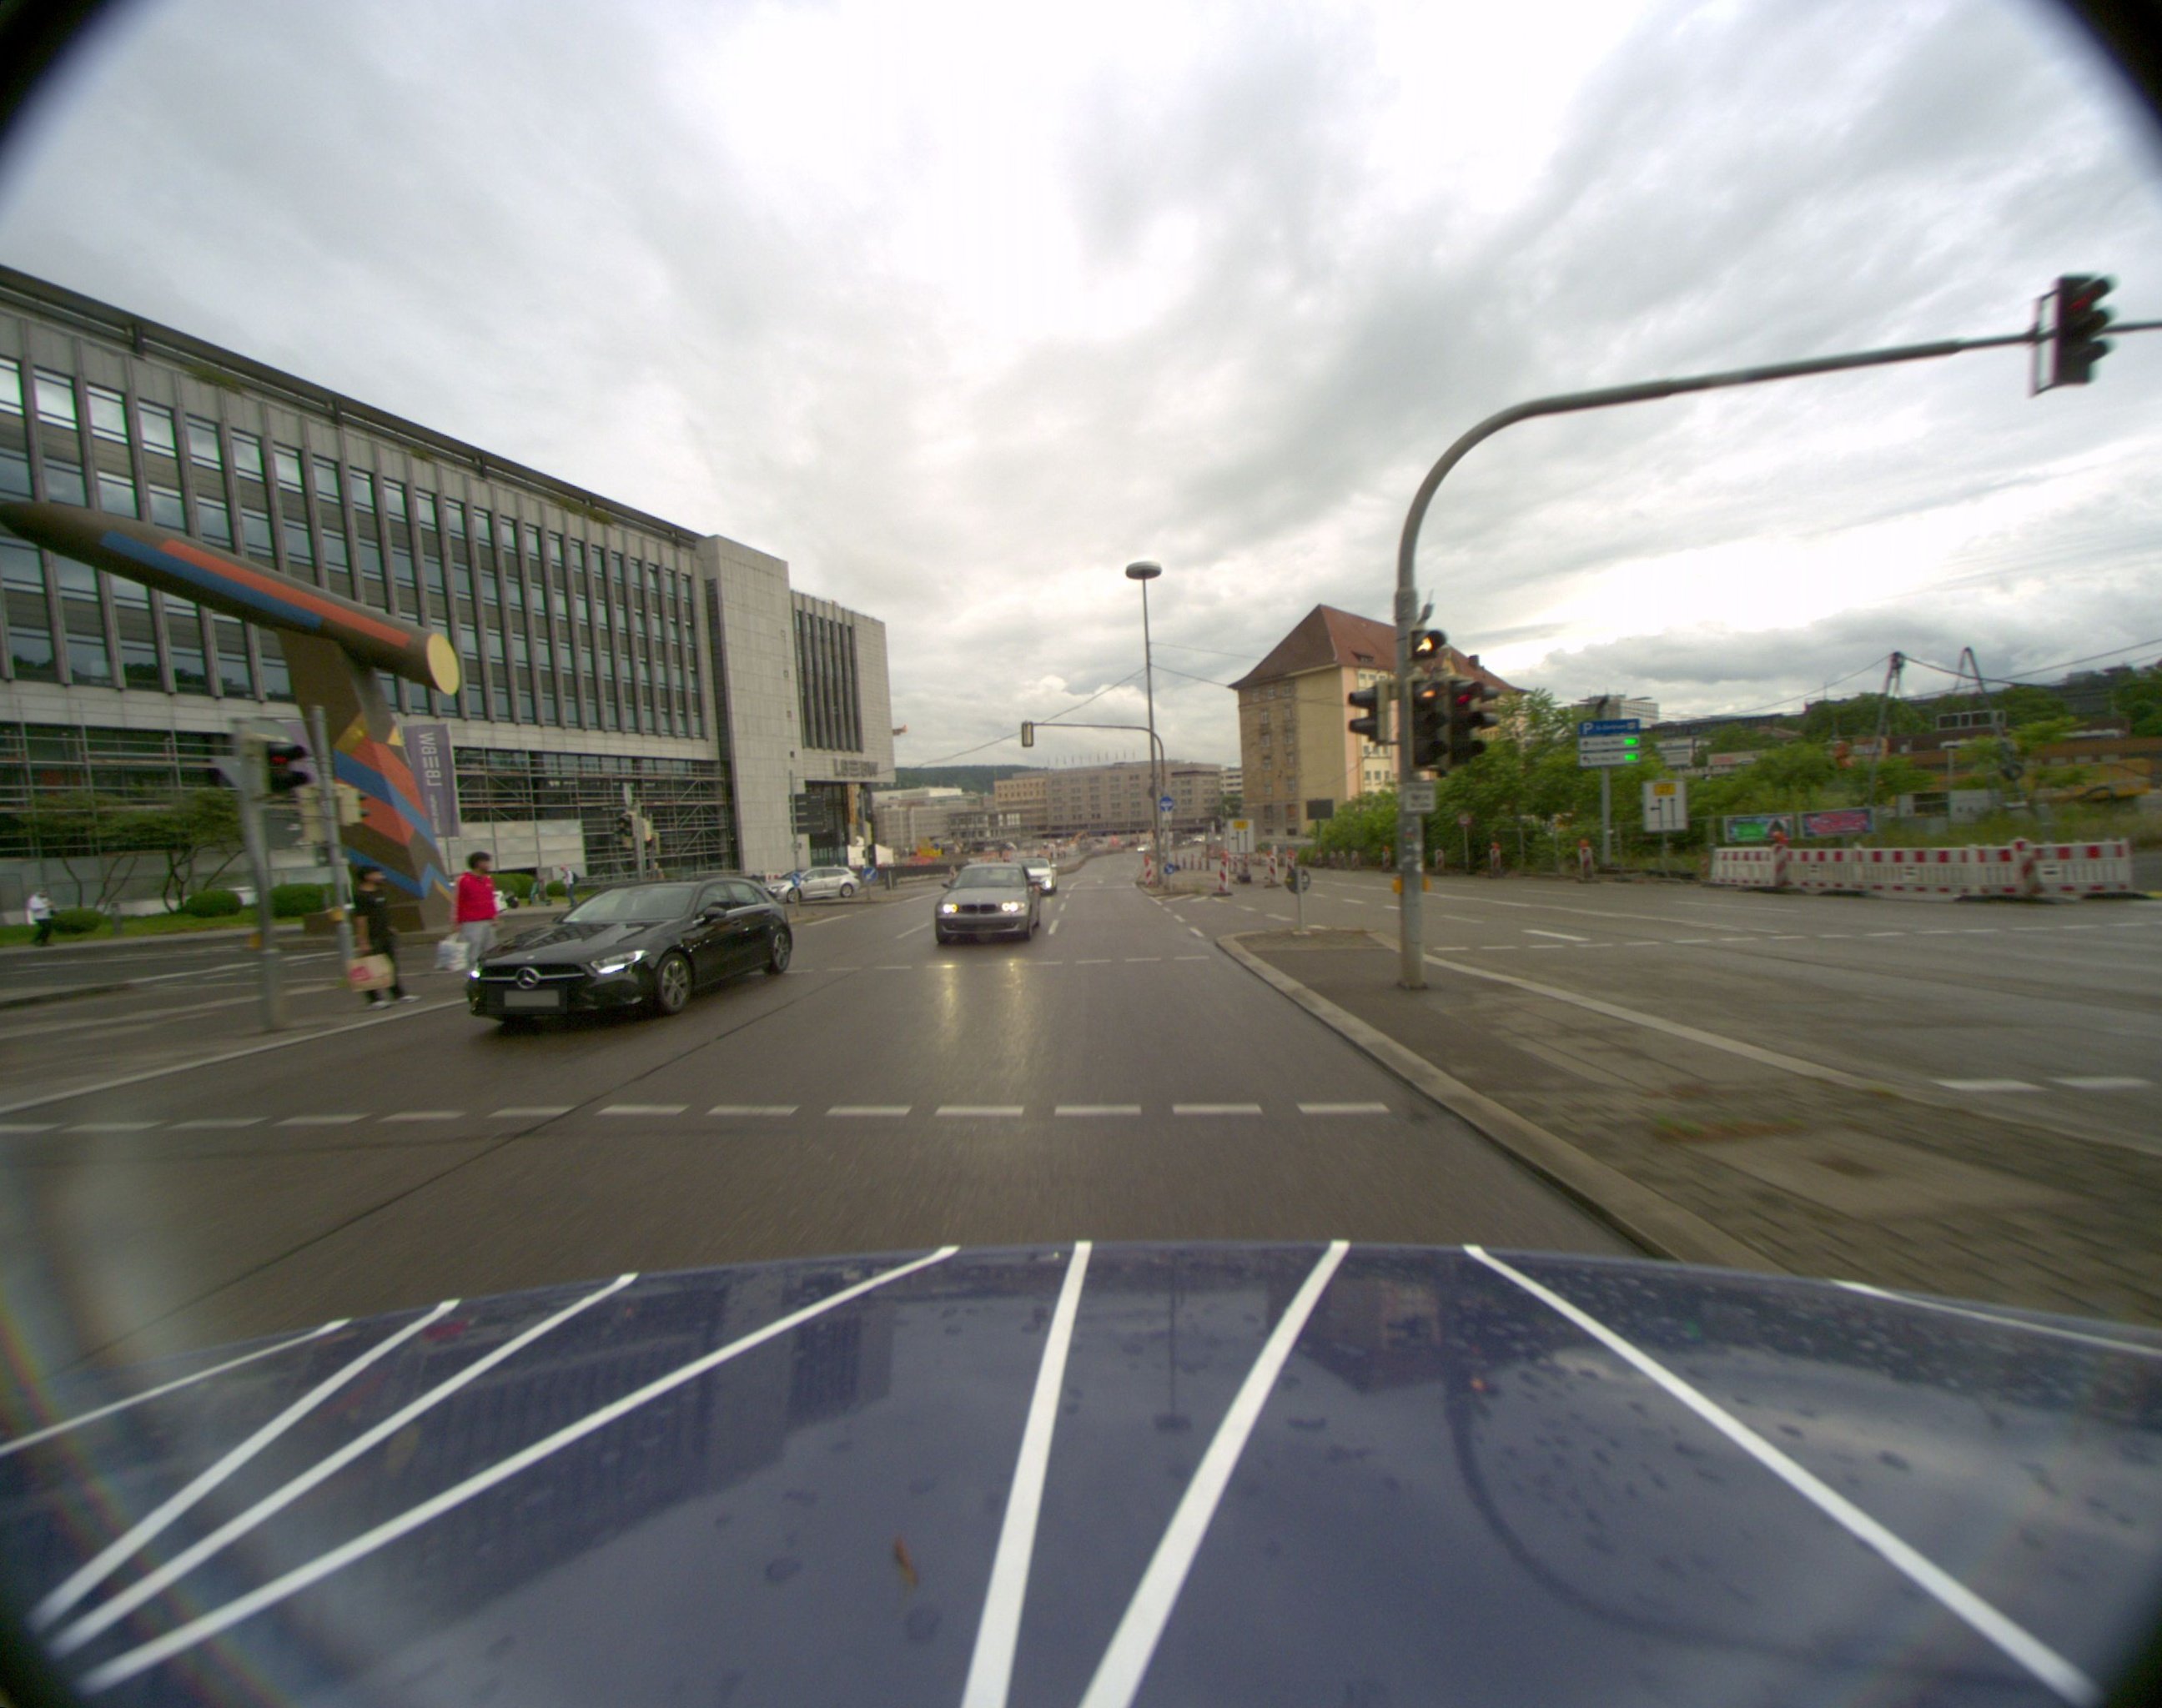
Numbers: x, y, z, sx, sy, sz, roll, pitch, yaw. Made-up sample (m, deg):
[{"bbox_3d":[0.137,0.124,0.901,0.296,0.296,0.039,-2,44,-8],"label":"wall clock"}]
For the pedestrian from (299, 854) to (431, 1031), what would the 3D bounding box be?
[{"bbox_3d":[-8.241,0.982,8.764,0.841,1.894,0.733,-1,3,27],"label":"pedestrian"}]

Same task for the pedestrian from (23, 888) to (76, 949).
[{"bbox_3d":[-32.808,2.039,24.182,0.968,1.808,0.782,0,4,42],"label":"pedestrian"}]

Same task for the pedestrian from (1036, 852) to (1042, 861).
[{"bbox_3d":[-7.359,0.382,133.698,0.715,1.545,1.009,-2,3,21],"label":"pedestrian"}]

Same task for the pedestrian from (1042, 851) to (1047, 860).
[{"bbox_3d":[-6.425,0.318,133.691,0.609,1.514,0.886,-2,3,21],"label":"pedestrian"}]

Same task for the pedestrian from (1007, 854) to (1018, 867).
[{"bbox_3d":[-8.716,0.838,96.518,0.861,1.585,0.954,-1,3,29],"label":"pedestrian"}]

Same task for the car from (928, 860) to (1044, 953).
[{"bbox_3d":[-1.719,0.917,15.007,1.744,1.435,3.999,-3,1,0],"label":"car"}]

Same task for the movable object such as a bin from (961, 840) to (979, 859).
[{"bbox_3d":[-20.686,-0.880,141.669,1.941,3.390,4.231,-2,3,9],"label":"movable object such as a bin"}]

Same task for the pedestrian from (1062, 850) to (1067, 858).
[{"bbox_3d":[-3.317,-0.028,150.124,0.647,1.545,0.767,-1,4,38],"label":"pedestrian"}]

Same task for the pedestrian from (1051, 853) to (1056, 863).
[{"bbox_3d":[-4.534,0.603,125.808,0.648,1.624,0.907,-3,3,2],"label":"pedestrian"}]

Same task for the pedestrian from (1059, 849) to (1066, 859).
[{"bbox_3d":[-3.566,-0.051,148.647,0.818,1.839,0.933,-1,4,38],"label":"pedestrian"}]

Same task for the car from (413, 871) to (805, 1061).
[{"bbox_3d":[-4.959,1.043,8.855,1.759,1.399,4.226,-3,1,1],"label":"car"}]

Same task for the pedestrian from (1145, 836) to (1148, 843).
[{"bbox_3d":[16.161,-3.512,187.403,0.654,1.682,0.776,0,4,26],"label":"pedestrian"}]

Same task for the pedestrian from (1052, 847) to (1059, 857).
[{"bbox_3d":[-4.866,-0.426,144.128,0.867,1.808,1.009,-2,3,21],"label":"pedestrian"}]

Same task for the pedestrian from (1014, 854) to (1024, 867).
[{"bbox_3d":[-7.860,0.801,96.374,0.732,1.566,0.806,-2,3,29],"label":"pedestrian"}]

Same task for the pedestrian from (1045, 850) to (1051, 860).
[{"bbox_3d":[-5.803,0.127,133.600,0.778,1.713,0.892,-2,3,21],"label":"pedestrian"}]

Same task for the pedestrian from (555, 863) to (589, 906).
[{"bbox_3d":[-21.374,1.287,31.911,0.731,1.702,0.843,-3,3,1],"label":"pedestrian"}]

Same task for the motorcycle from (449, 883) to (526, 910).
[{"bbox_3d":[-24.433,1.743,31.302,2.571,1.074,0.634,0,0,-6],"label":"motorcycle"}]

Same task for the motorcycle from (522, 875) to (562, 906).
[{"bbox_3d":[-23.603,1.589,33.307,1.244,1.263,0.619,-2,1,-6],"label":"motorcycle"}]

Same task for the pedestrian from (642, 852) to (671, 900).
[{"bbox_3d":[-19.170,1.002,34.320,0.856,2.086,0.903,-5,1,-22],"label":"pedestrian"}]

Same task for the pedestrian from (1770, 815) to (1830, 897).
[{"bbox_3d":[17.365,0.024,18.365,0.762,1.912,0.742,-3,3,4],"label":"pedestrian"}]

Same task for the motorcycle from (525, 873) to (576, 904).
[{"bbox_3d":[-23.747,1.539,34.031,1.729,1.346,0.606,-2,1,-6],"label":"motorcycle"}]

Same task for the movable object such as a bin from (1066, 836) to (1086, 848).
[{"bbox_3d":[-1.092,-2.857,178.190,4.134,2.522,1.995,-5,3,-33],"label":"movable object such as a bin"}]

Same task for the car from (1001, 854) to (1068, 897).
[{"bbox_3d":[-1.814,0.816,30.922,1.968,1.539,4.220,-3,0,6],"label":"car"}]

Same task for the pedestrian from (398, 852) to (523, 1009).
[{"bbox_3d":[-8.095,0.967,9.929,0.841,1.894,0.862,-3,2,27],"label":"pedestrian"}]

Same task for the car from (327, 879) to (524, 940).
[{"bbox_3d":[-21.630,1.780,25.346,4.586,1.625,1.773,-3,1,-27],"label":"car"}]

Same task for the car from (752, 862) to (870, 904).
[{"bbox_3d":[-11.668,1.234,33.129,1.702,1.443,4.623,-2,2,34],"label":"car"}]

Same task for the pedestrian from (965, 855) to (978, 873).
[{"bbox_3d":[-10.950,0.994,76.136,0.730,1.643,1.062,-2,2,29],"label":"pedestrian"}]

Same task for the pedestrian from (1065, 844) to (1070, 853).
[{"bbox_3d":[-2.591,-1.039,148.324,0.745,1.697,0.687,0,3,15],"label":"pedestrian"}]
